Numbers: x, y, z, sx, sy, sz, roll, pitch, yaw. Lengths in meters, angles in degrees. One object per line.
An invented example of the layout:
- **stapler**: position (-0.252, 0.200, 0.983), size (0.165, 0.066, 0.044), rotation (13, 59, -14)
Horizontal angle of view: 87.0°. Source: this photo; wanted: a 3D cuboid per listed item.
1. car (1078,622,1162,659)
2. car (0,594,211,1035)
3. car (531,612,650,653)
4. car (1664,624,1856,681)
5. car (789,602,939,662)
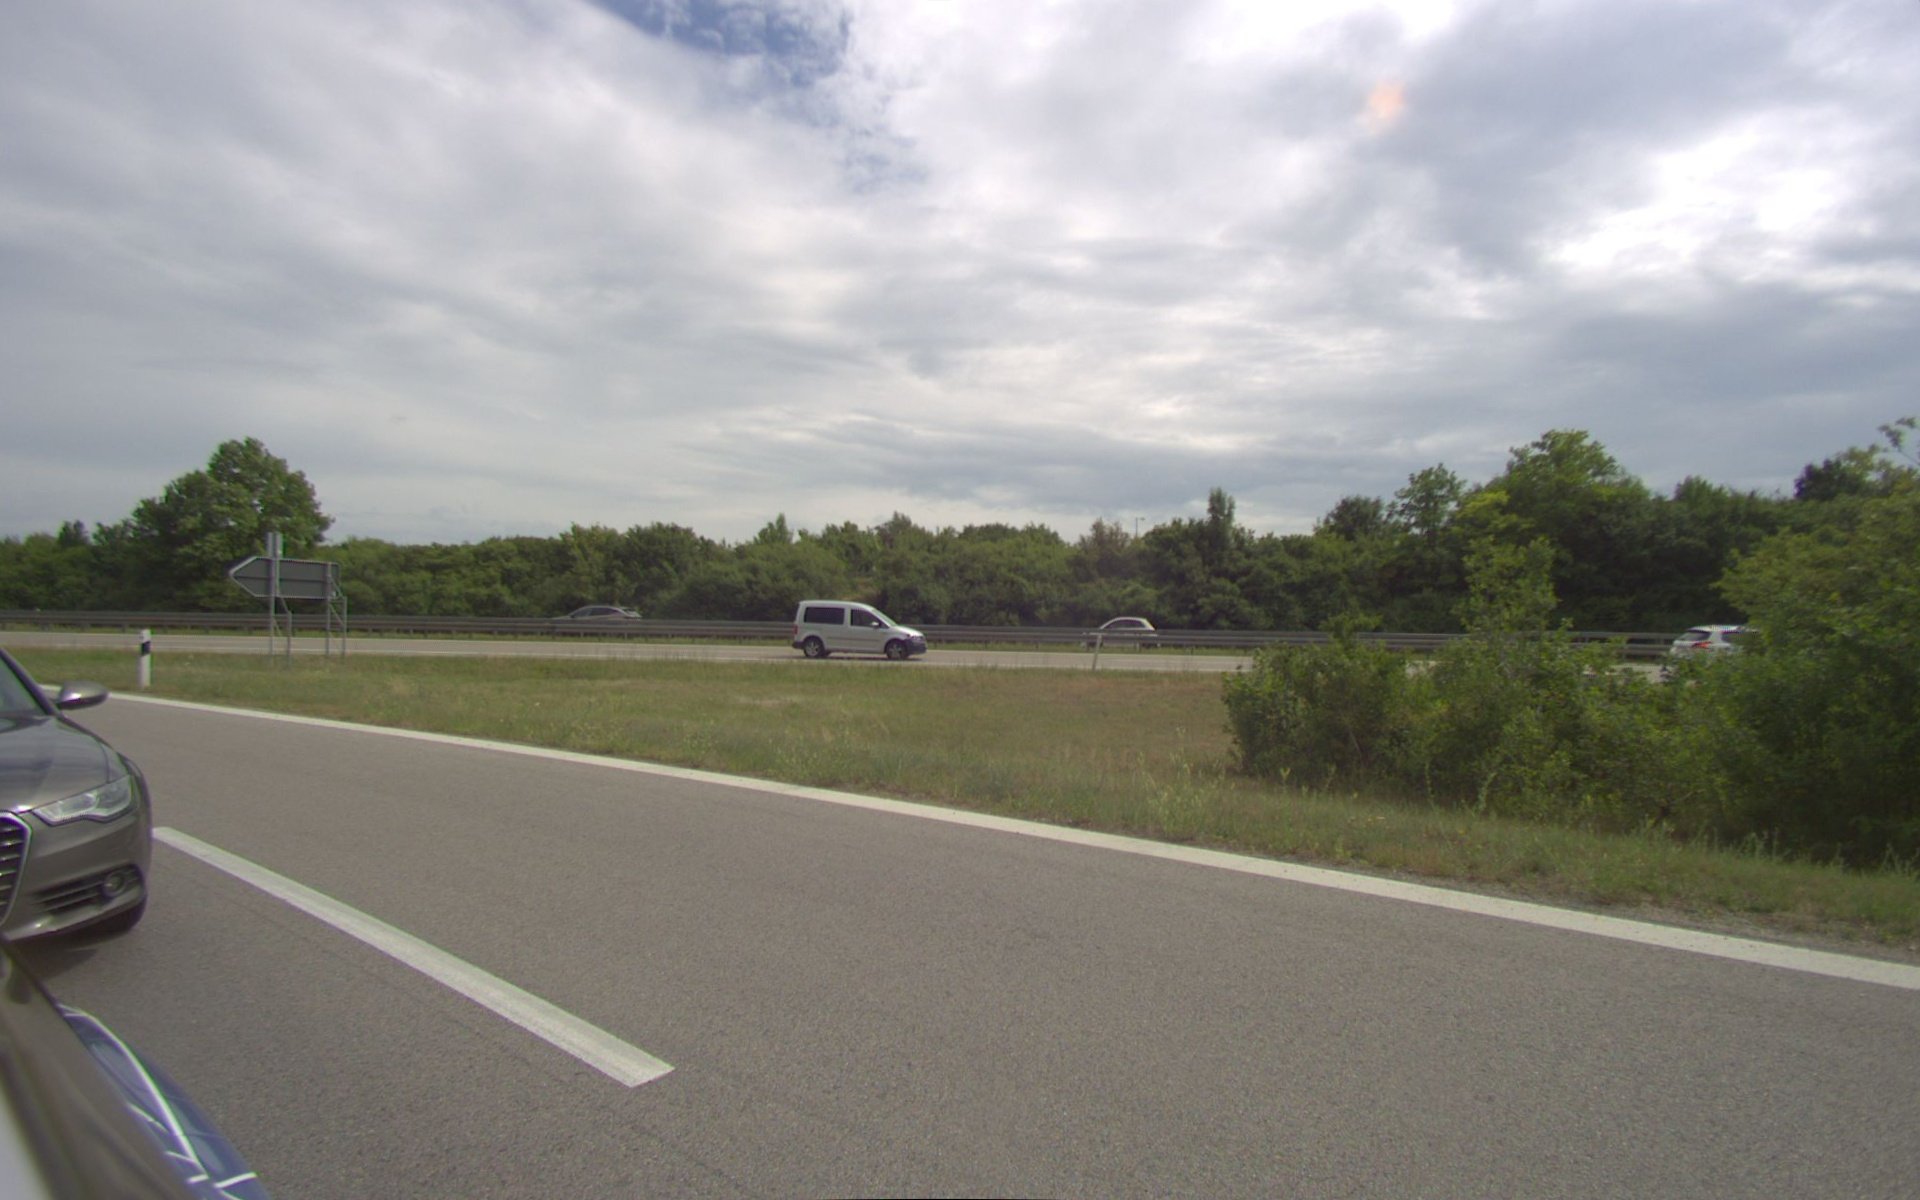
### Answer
- **car**: position (6.878, 1.724, 43.698), size (3.478, 1.520, 1.538), rotation (1, -1, 5)
- **car**: position (-5.299, 0.770, 4.664), size (4.534, 1.526, 1.973), rotation (-1, -1, 40)
- **car**: position (-17.048, 1.485, 46.799), size (4.921, 1.806, 1.712), rotation (1, -1, 8)
- **car**: position (23.139, 1.490, 29.382), size (4.062, 1.516, 1.714), rotation (1, -1, 5)
- **car**: position (-3.050, 1.012, 32.709), size (4.459, 1.806, 2.206), rotation (1, -1, 8)
